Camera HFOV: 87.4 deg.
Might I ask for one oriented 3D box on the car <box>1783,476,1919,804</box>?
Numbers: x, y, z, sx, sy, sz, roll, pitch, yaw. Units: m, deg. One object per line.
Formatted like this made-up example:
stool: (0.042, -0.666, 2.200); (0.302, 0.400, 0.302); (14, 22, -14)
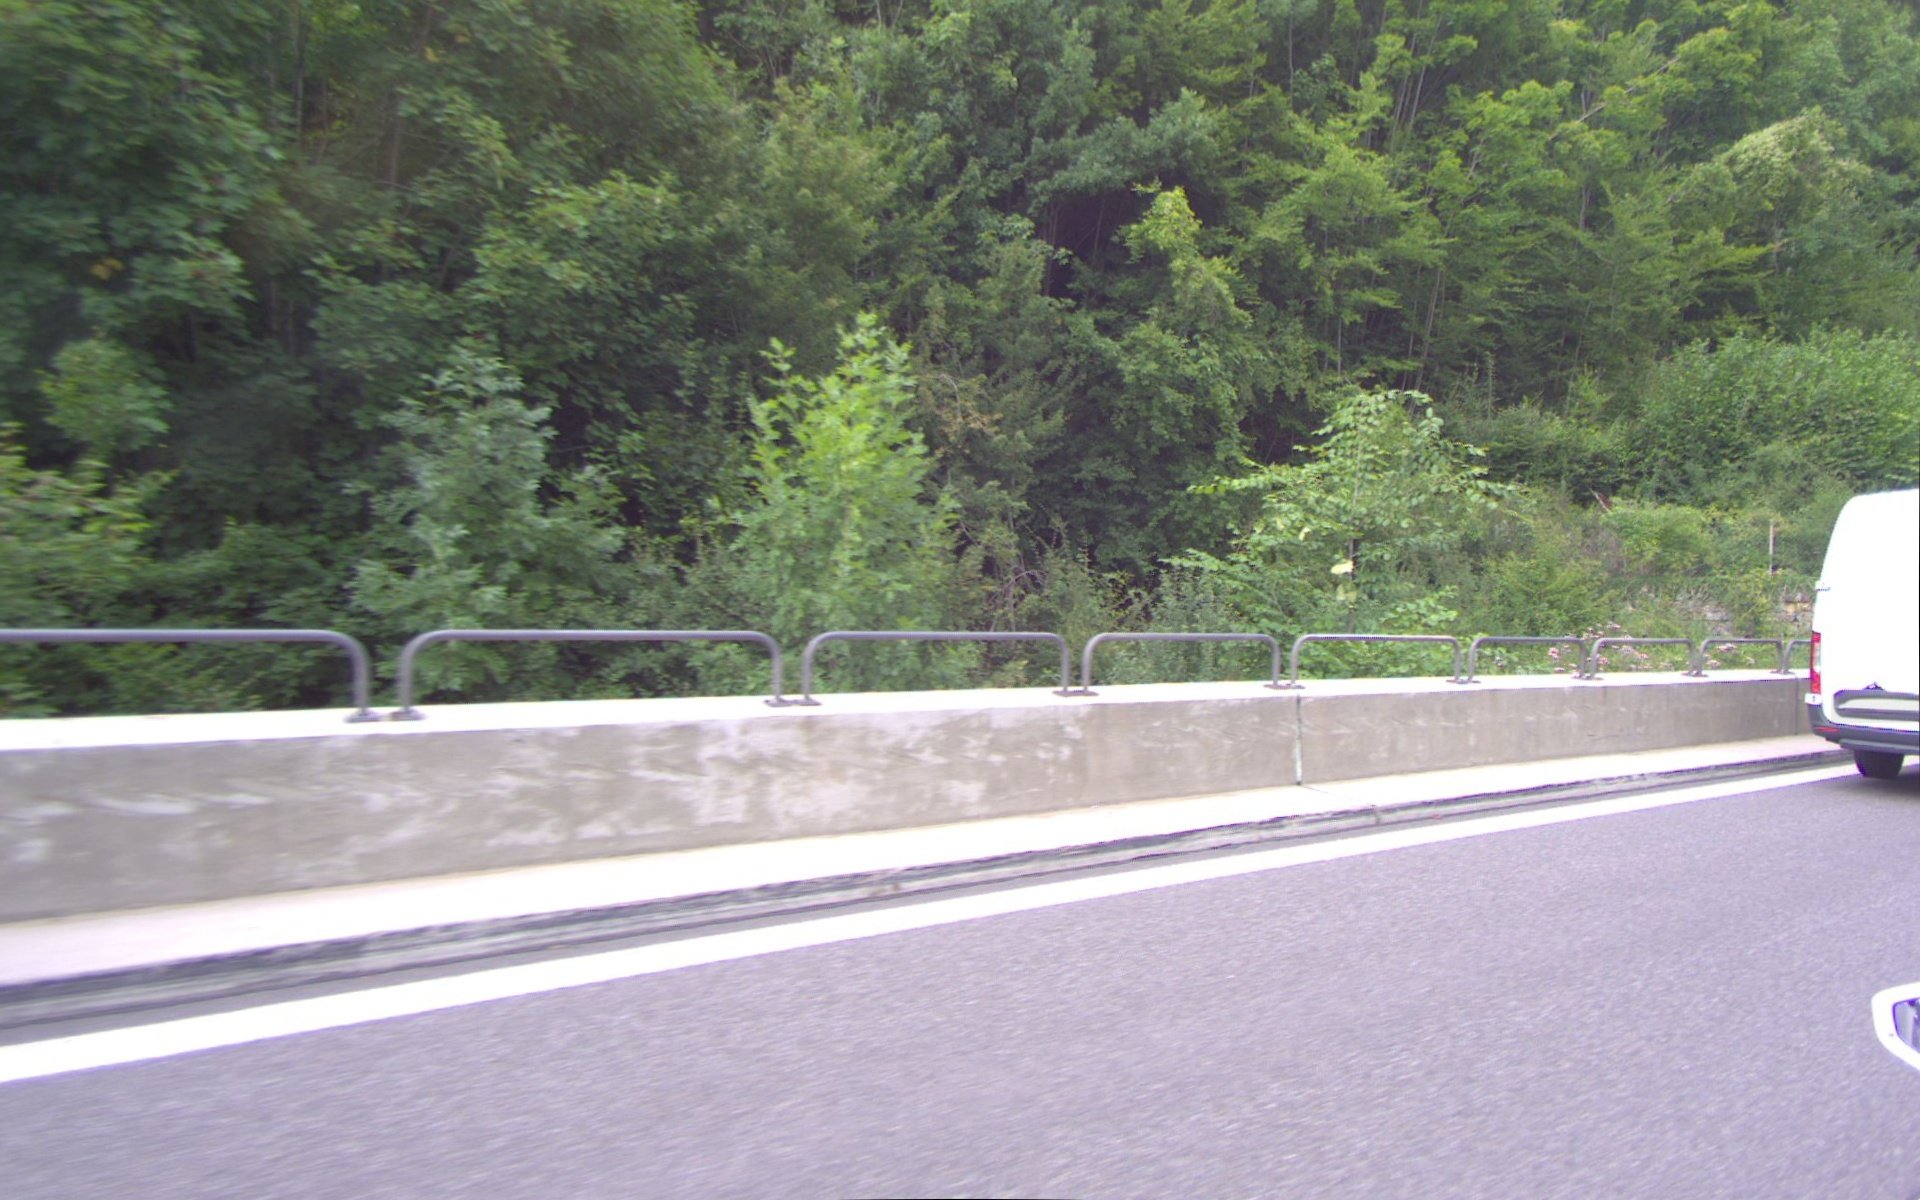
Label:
car: (10.901, 0.389, 9.997); (6.855, 2.708, 1.979); (1, -1, -31)
